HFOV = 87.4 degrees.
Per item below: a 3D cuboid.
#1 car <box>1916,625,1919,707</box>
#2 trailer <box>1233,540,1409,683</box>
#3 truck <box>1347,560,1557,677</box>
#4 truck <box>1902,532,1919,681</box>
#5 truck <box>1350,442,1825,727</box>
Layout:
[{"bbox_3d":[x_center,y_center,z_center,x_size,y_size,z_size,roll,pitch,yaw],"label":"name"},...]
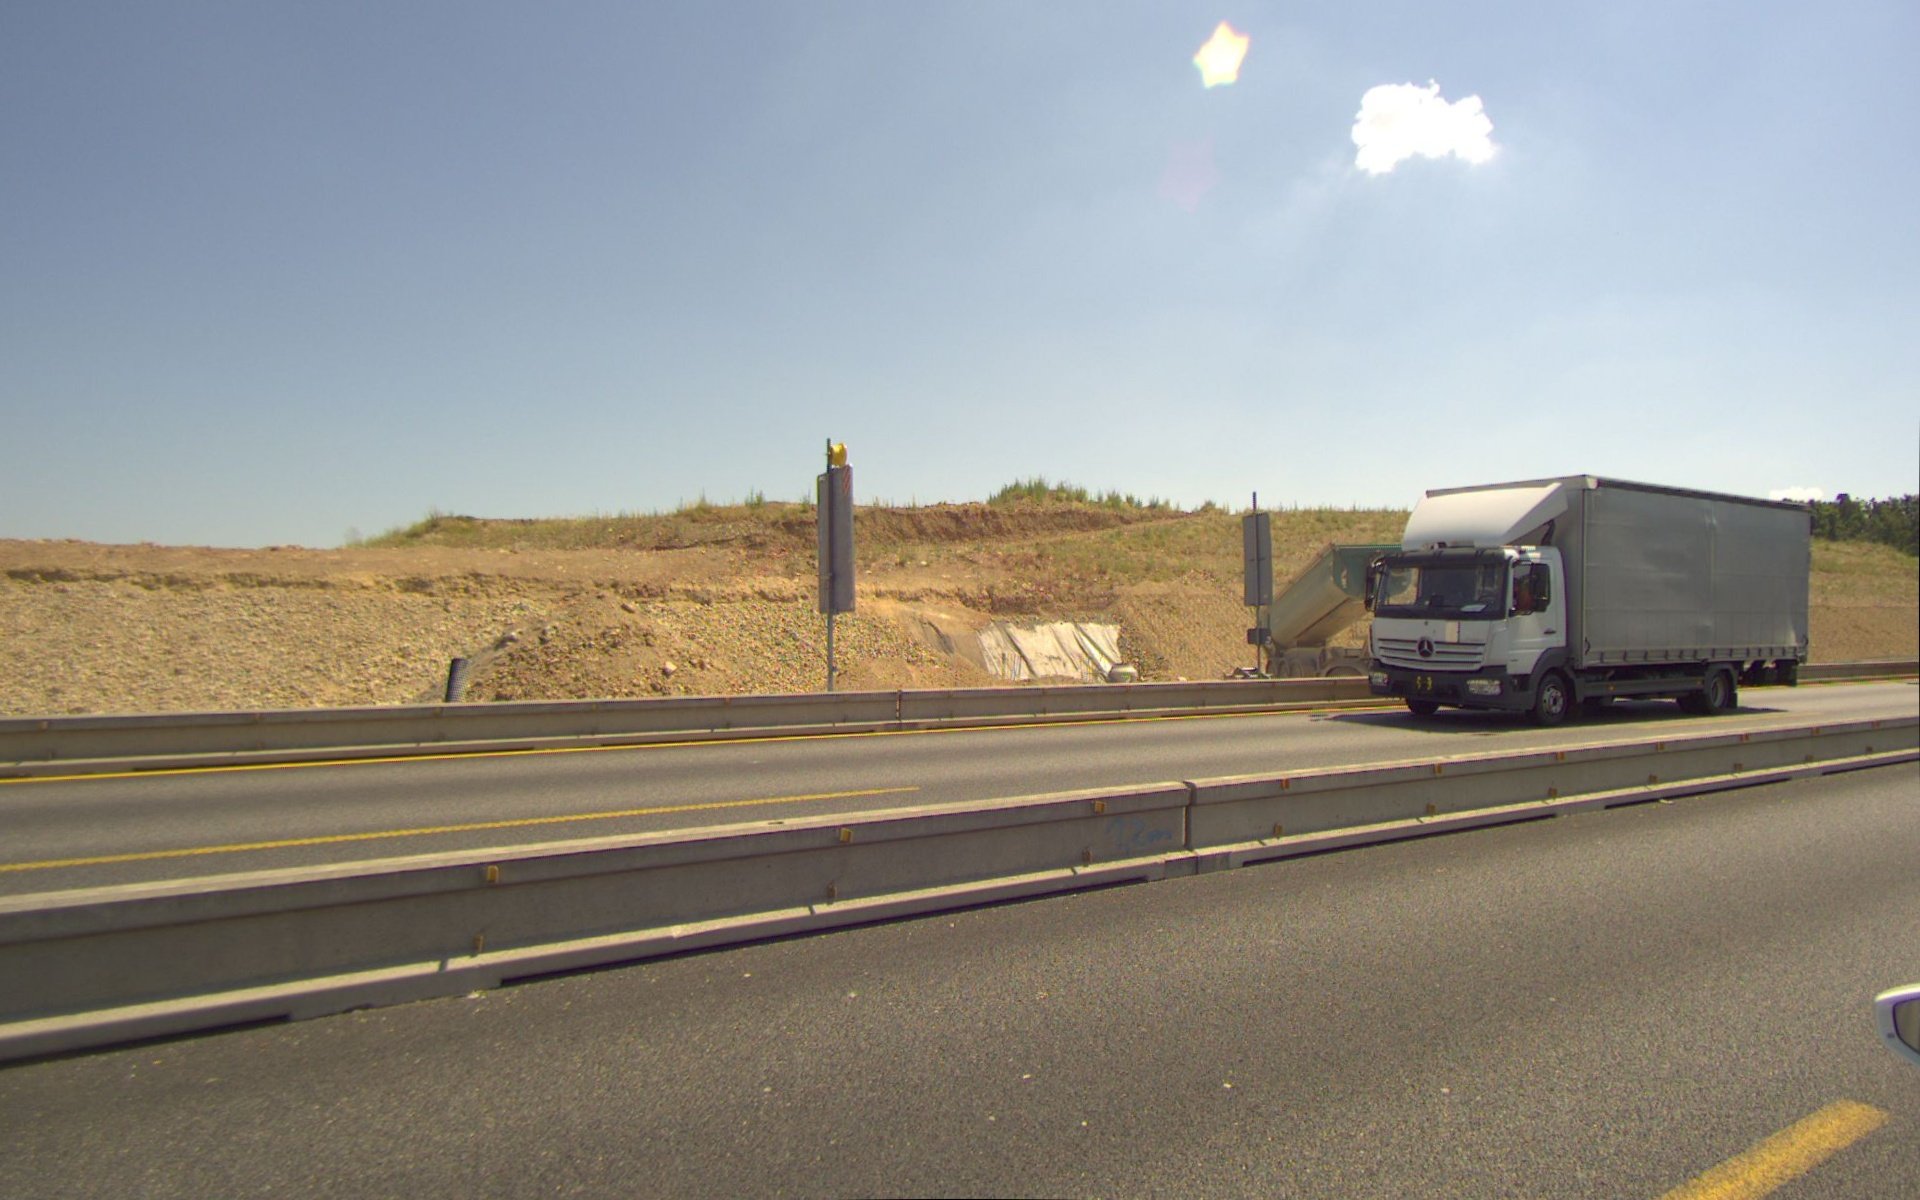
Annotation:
[{"bbox_3d":[19.462,1.234,18.347,4.451,1.461,1.847,2,0,-32],"label":"car"},{"bbox_3d":[11.760,0.360,33.726,2.745,4.152,8.369,1,0,0],"label":"trailer"},{"bbox_3d":[13.793,0.448,28.243,4.976,3.003,2.580,1,0,34],"label":"truck"},{"bbox_3d":[28.804,0.201,27.718,4.802,4.071,2.835,2,-2,-30],"label":"truck"},{"bbox_3d":[10.770,-0.102,16.789,9.371,3.766,2.632,2,0,-30],"label":"truck"}]
